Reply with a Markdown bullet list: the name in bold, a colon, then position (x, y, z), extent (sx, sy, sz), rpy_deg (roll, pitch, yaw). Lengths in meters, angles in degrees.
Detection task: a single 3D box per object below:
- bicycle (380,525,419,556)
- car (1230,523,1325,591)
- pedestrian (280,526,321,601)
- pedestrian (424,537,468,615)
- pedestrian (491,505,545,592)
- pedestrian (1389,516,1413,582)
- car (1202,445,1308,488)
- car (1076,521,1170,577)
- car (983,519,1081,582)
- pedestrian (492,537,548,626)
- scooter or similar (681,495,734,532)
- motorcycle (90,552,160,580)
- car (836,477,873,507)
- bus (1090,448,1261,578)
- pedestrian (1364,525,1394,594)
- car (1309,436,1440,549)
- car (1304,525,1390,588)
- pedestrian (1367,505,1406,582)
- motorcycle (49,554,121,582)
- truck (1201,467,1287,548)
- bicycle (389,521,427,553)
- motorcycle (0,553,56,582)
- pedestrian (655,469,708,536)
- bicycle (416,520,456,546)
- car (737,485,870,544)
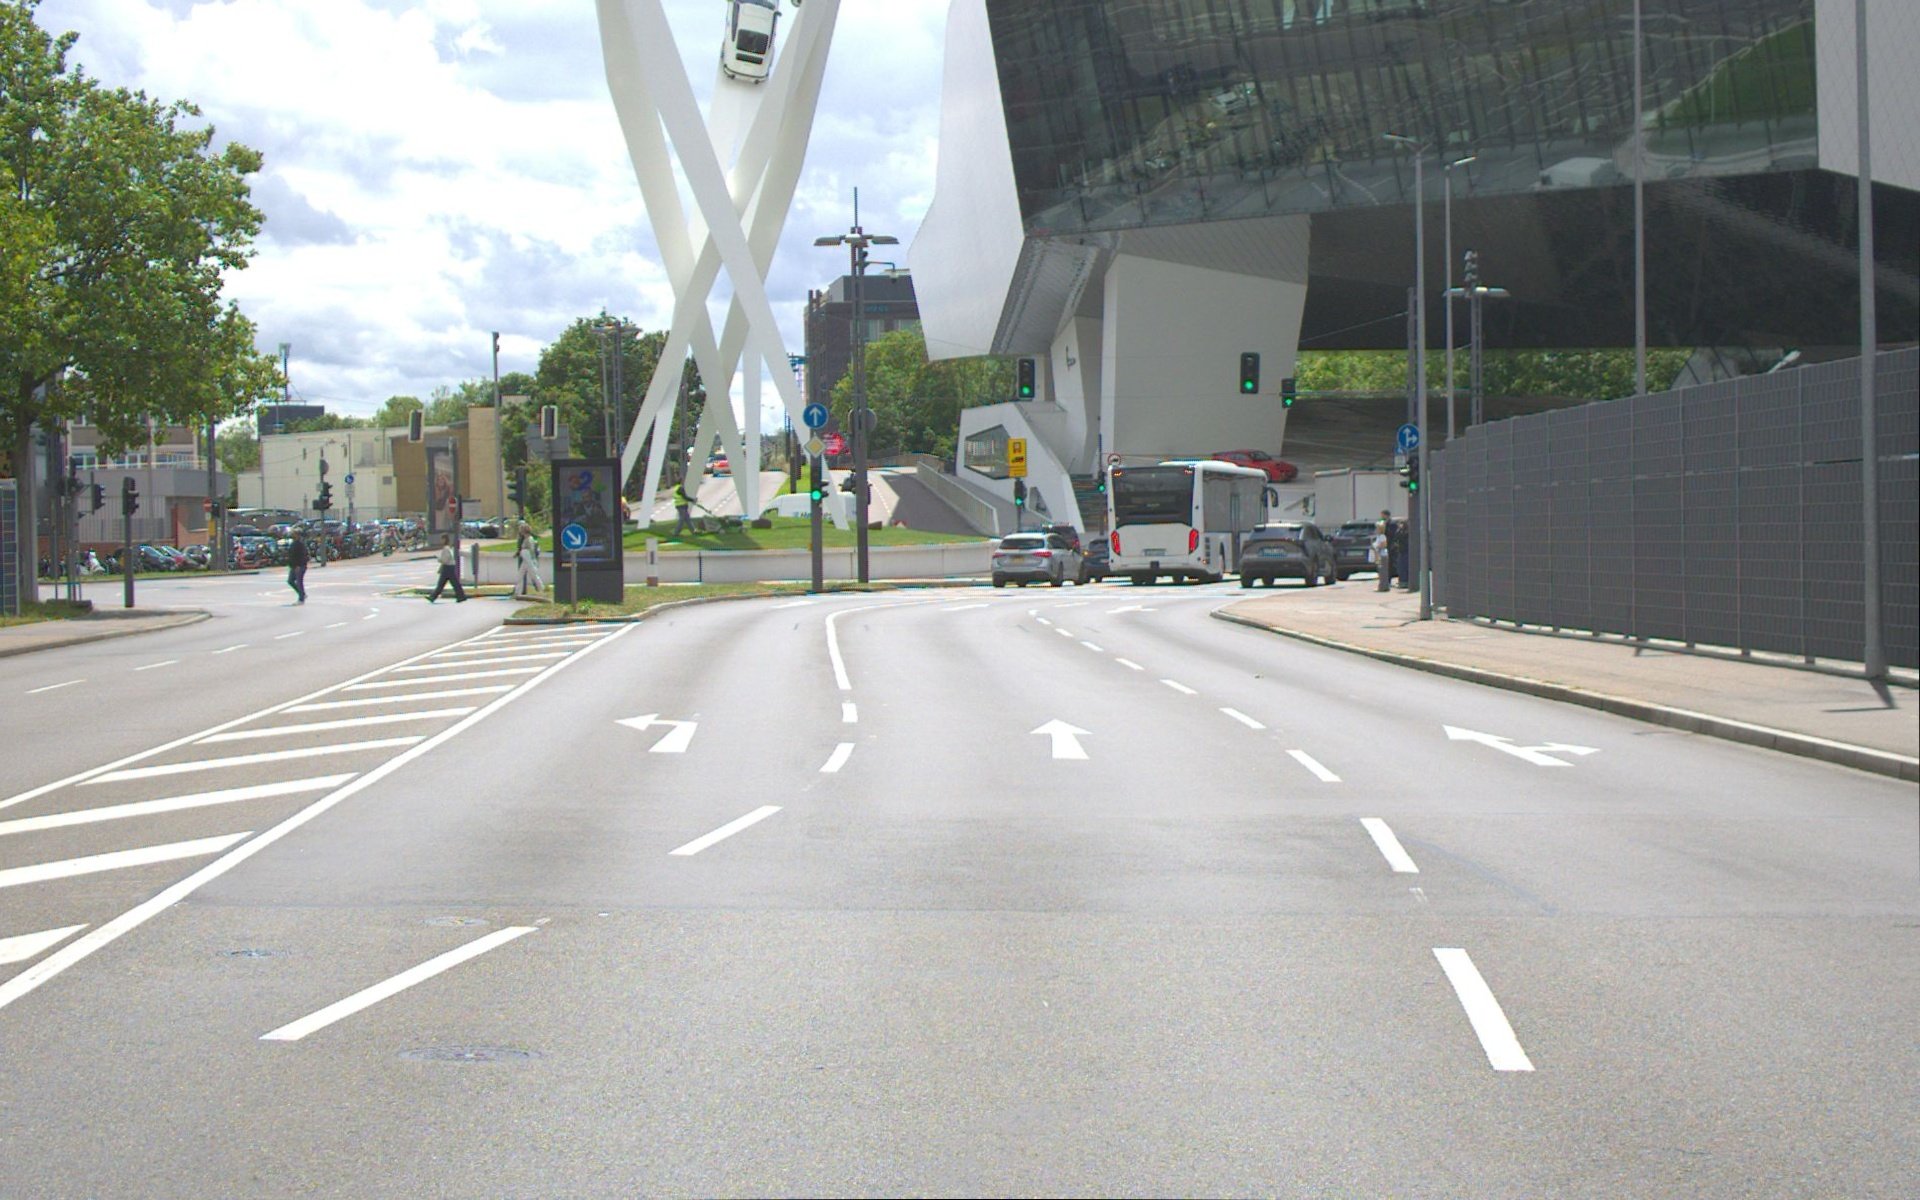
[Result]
- **bicycle**: position (-24.443, -2.600, 149.931), extent (1.605, 1.312, 0.493), rpy_deg (1, 0, -3)
- **car**: position (7.980, -1.079, 86.119), extent (1.994, 1.631, 3.998), rpy_deg (1, 1, 10)
- **pedestrian**: position (-15.685, -0.860, 81.763), extent (0.863, 1.767, 1.036), rpy_deg (1, 0, -16)
- **pedestrian**: position (-11.799, -0.542, 78.890), extent (0.863, 1.767, 1.036), rpy_deg (1, 0, -16)
- **pedestrian**: position (-10.476, -1.222, 81.497), extent (0.953, 2.048, 0.950), rpy_deg (1, 0, 17)
- **pedestrian**: position (10.749, -1.238, 83.747), extent (0.464, 1.610, 0.663), rpy_deg (1, 0, -1)
- **car**: position (13.293, -6.044, 155.082), extent (4.510, 1.390, 1.995), rpy_deg (10, 12, 44)
- **car**: position (5.040, -1.554, 105.588), extent (1.995, 1.631, 3.997), rpy_deg (1, 0, 16)
- **car**: position (1.939, -1.305, 91.433), extent (1.994, 1.631, 3.998), rpy_deg (1, 0, 10)
- **pedestrian**: position (-10.274, -0.441, 80.296), extent (0.953, 2.048, 0.950), rpy_deg (1, 0, 17)
- **scooter or similar**: position (-7.345, -2.521, 100.011), extent (1.401, 1.022, 0.550), rpy_deg (-1, 7, 12)
- **motorcycle**: position (-36.513, -1.478, 150.321), extent (2.905, 1.191, 0.919), rpy_deg (1, 0, 16)
- **car**: position (-5.932, -6.116, 194.344), extent (1.993, 1.630, 4.656), rpy_deg (1, 3, -1)
- **bus**: position (6.149, -2.314, 95.857), extent (3.073, 3.350, 12.217), rpy_deg (1, 0, 12)
- **pedestrian**: position (9.840, -0.956, 80.756), extent (0.659, 1.602, 0.822), rpy_deg (1, 0, 9)
- **car**: position (13.691, -3.500, 114.352), extent (3.335, 3.492, 9.341), rpy_deg (1, 0, 1)
- **car**: position (10.412, -1.143, 92.246), extent (1.994, 1.631, 3.998), rpy_deg (1, 0, 10)
- **pedestrian**: position (10.466, -1.383, 84.299), extent (0.659, 1.860, 0.794), rpy_deg (1, 0, -16)
- **motorcycle**: position (-37.683, -1.378, 148.046), extent (2.905, 1.191, 0.919), rpy_deg (1, 0, 16)
- **truck**: position (9.363, -3.017, 113.025), extent (2.208, 2.507, 5.130), rpy_deg (1, 0, 11)
- **bicycle**: position (-24.311, -2.771, 151.423), extent (1.605, 1.378, 0.493), rpy_deg (1, 0, -3)
- **motorcycle**: position (-39.425, -1.374, 144.069), extent (2.905, 1.191, 0.919), rpy_deg (1, 0, 16)
- **pedestrian**: position (-8.104, -2.841, 100.054), extent (1.282, 1.810, 0.987), rpy_deg (-3, 5, 7)
- **bicycle**: position (-24.235, -3.116, 158.981), extent (1.737, 1.178, 0.670), rpy_deg (1, 2, -3)
- **car**: position (-5.903, -3.231, 129.710), extent (4.648, 2.163, 1.997), rpy_deg (1, 0, 30)
